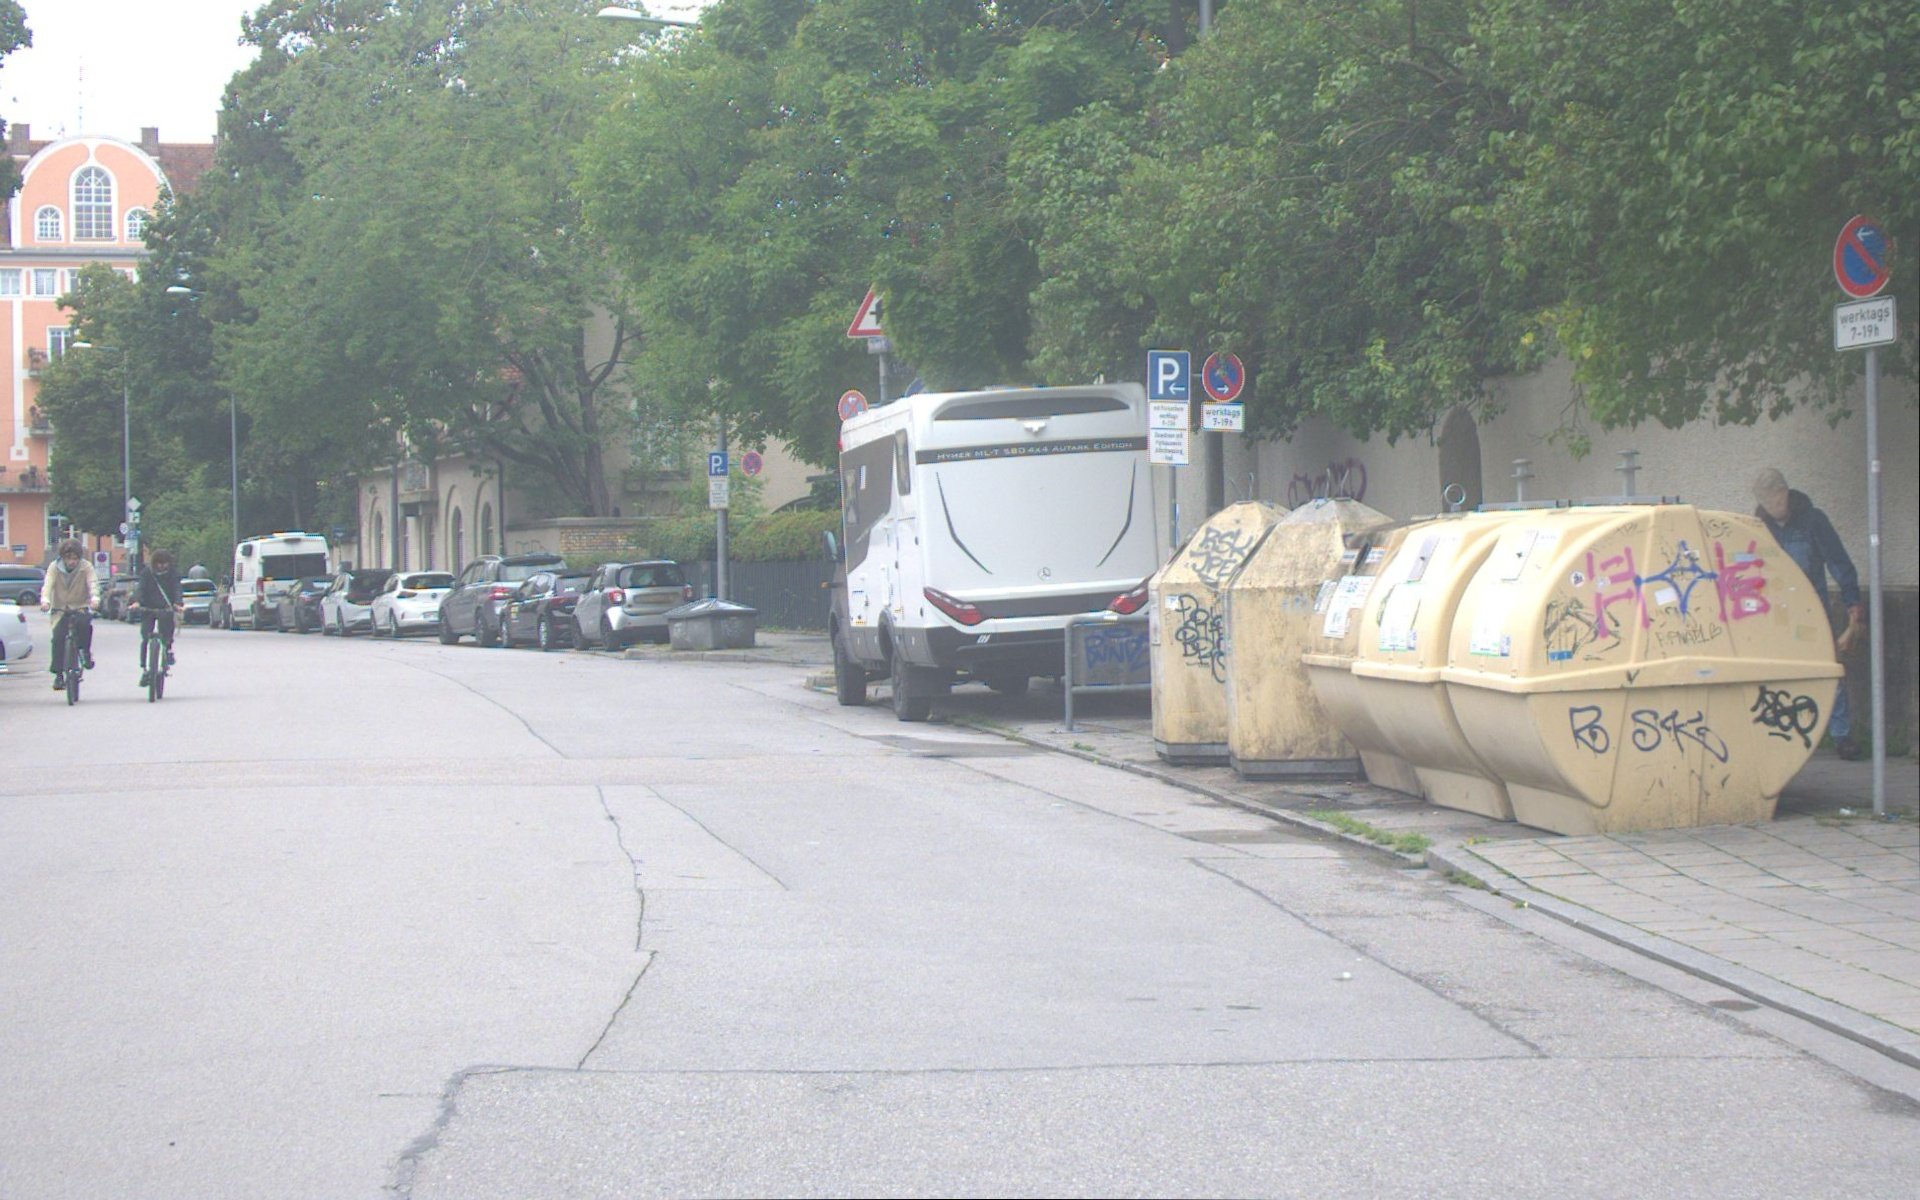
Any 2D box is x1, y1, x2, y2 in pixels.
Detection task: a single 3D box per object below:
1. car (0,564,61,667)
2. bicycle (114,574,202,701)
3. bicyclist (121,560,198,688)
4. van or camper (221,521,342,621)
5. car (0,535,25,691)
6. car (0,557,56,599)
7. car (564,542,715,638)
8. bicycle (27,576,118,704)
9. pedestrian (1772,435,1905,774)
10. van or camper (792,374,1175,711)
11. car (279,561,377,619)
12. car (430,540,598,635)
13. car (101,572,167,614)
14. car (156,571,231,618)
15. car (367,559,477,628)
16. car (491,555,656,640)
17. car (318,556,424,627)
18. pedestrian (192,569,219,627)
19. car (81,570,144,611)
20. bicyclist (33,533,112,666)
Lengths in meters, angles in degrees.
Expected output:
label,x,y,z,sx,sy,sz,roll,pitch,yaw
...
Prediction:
label,x,y,z,sx,sy,sz,roll,pitch,yaw
car,-15.300,0.283,48.833,4.505,1.446,1.896,-3,1,-44
bicycle,-8.650,0.383,37.140,0.706,1.301,2.119,-1,1,-8
bicyclist,-8.638,0.252,37.115,0.696,1.347,0.930,-1,1,-8
van or camper,-18.419,-0.794,93.152,2.192,2.541,5.730,-3,1,-20
car,-12.469,0.243,36.339,4.514,1.659,1.987,-3,1,-40
car,-43.702,-0.971,156.505,4.702,1.874,1.841,-1,0,-21
car,-5.559,-0.157,59.323,1.738,1.531,2.947,-3,1,-22
bicycle,-9.507,0.408,36.901,0.707,1.301,2.119,-1,1,-9
pedestrian,5.243,0.023,20.552,0.629,1.978,0.798,-1,1,5
van or camper,0.039,-0.555,33.555,2.272,2.896,7.279,-1,1,-11
car,-15.973,-0.253,86.737,1.707,1.364,4.442,-3,1,-20
car,-8.804,-0.249,67.493,1.993,1.705,4.886,-3,1,-22
car,-29.834,-0.268,124.168,1.670,1.339,3.839,-3,3,-23
car,-24.637,-0.178,110.436,1.707,1.403,4.131,-3,1,-21
car,-12.000,-0.148,76.541,1.685,1.436,4.001,-2,1,-19
car,-7.139,-0.064,63.157,1.876,1.422,4.223,-3,1,-22
car,-13.951,-0.212,81.304,1.707,1.532,4.241,-3,1,-19
pedestrian,-26.144,-0.074,119.130,0.773,2.007,0.563,-1,1,-26
car,-31.743,-0.368,128.714,1.670,1.339,3.839,-3,3,-23
bicyclist,-9.515,-0.016,36.887,0.696,1.392,0.930,-1,1,-9
